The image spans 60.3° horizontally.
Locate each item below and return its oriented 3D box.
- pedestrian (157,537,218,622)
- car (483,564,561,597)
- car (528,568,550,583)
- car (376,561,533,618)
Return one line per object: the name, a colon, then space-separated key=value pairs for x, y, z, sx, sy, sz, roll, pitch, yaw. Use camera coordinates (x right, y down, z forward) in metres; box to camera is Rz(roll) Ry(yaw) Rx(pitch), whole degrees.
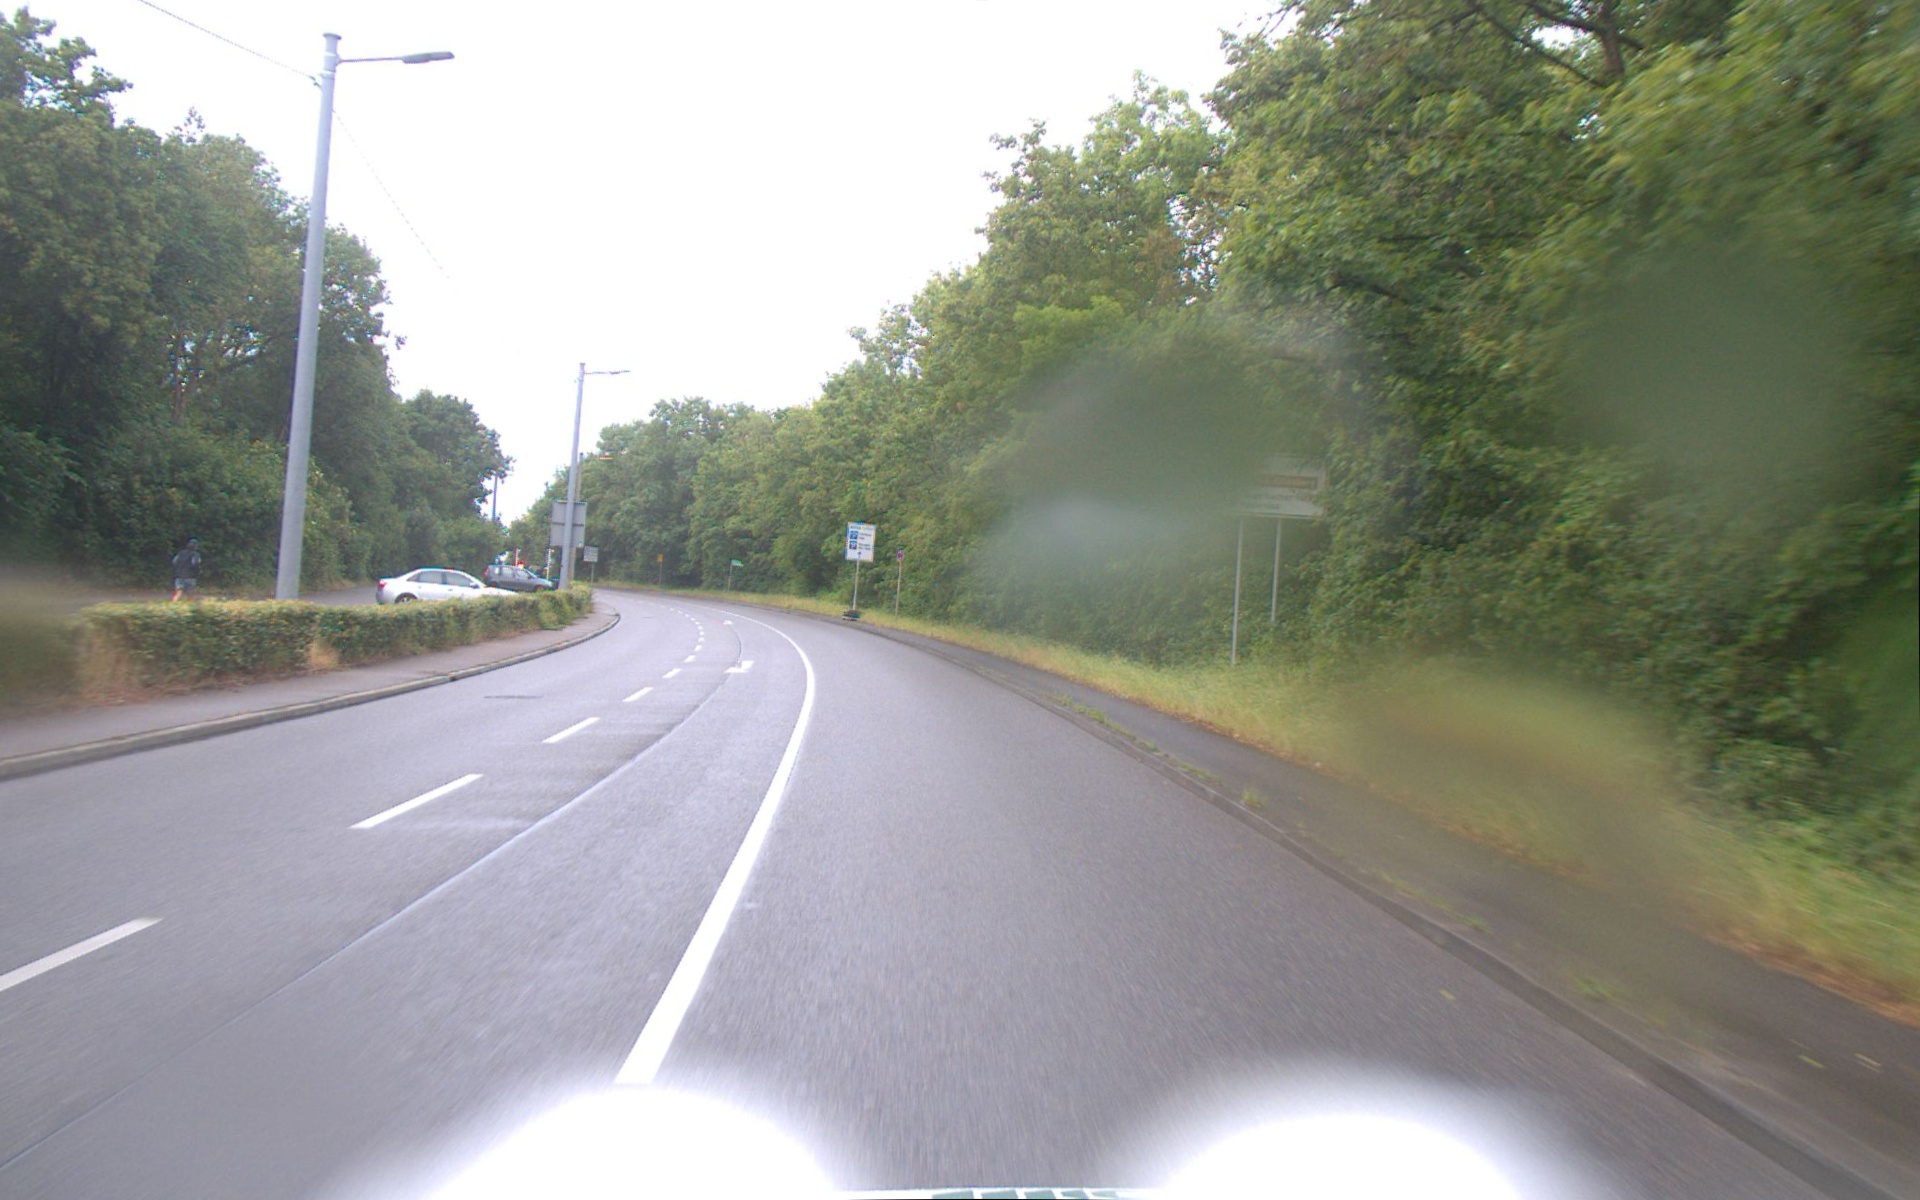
pedestrian: x=-17.119 y=-0.450 z=36.691 sx=0.801 sy=1.829 sz=1.134 roll=2 pitch=0 yaw=-4
car: x=-25.523 y=-1.142 z=96.557 sx=4.216 sy=1.738 sz=1.994 roll=3 pitch=0 yaw=-12
car: x=-45.547 y=-2.624 z=178.804 sx=1.907 sy=1.524 sz=4.293 roll=2 pitch=1 yaw=-20
car: x=-15.642 y=-0.321 z=51.407 sx=4.499 sy=1.532 sz=1.992 roll=3 pitch=0 yaw=-15
